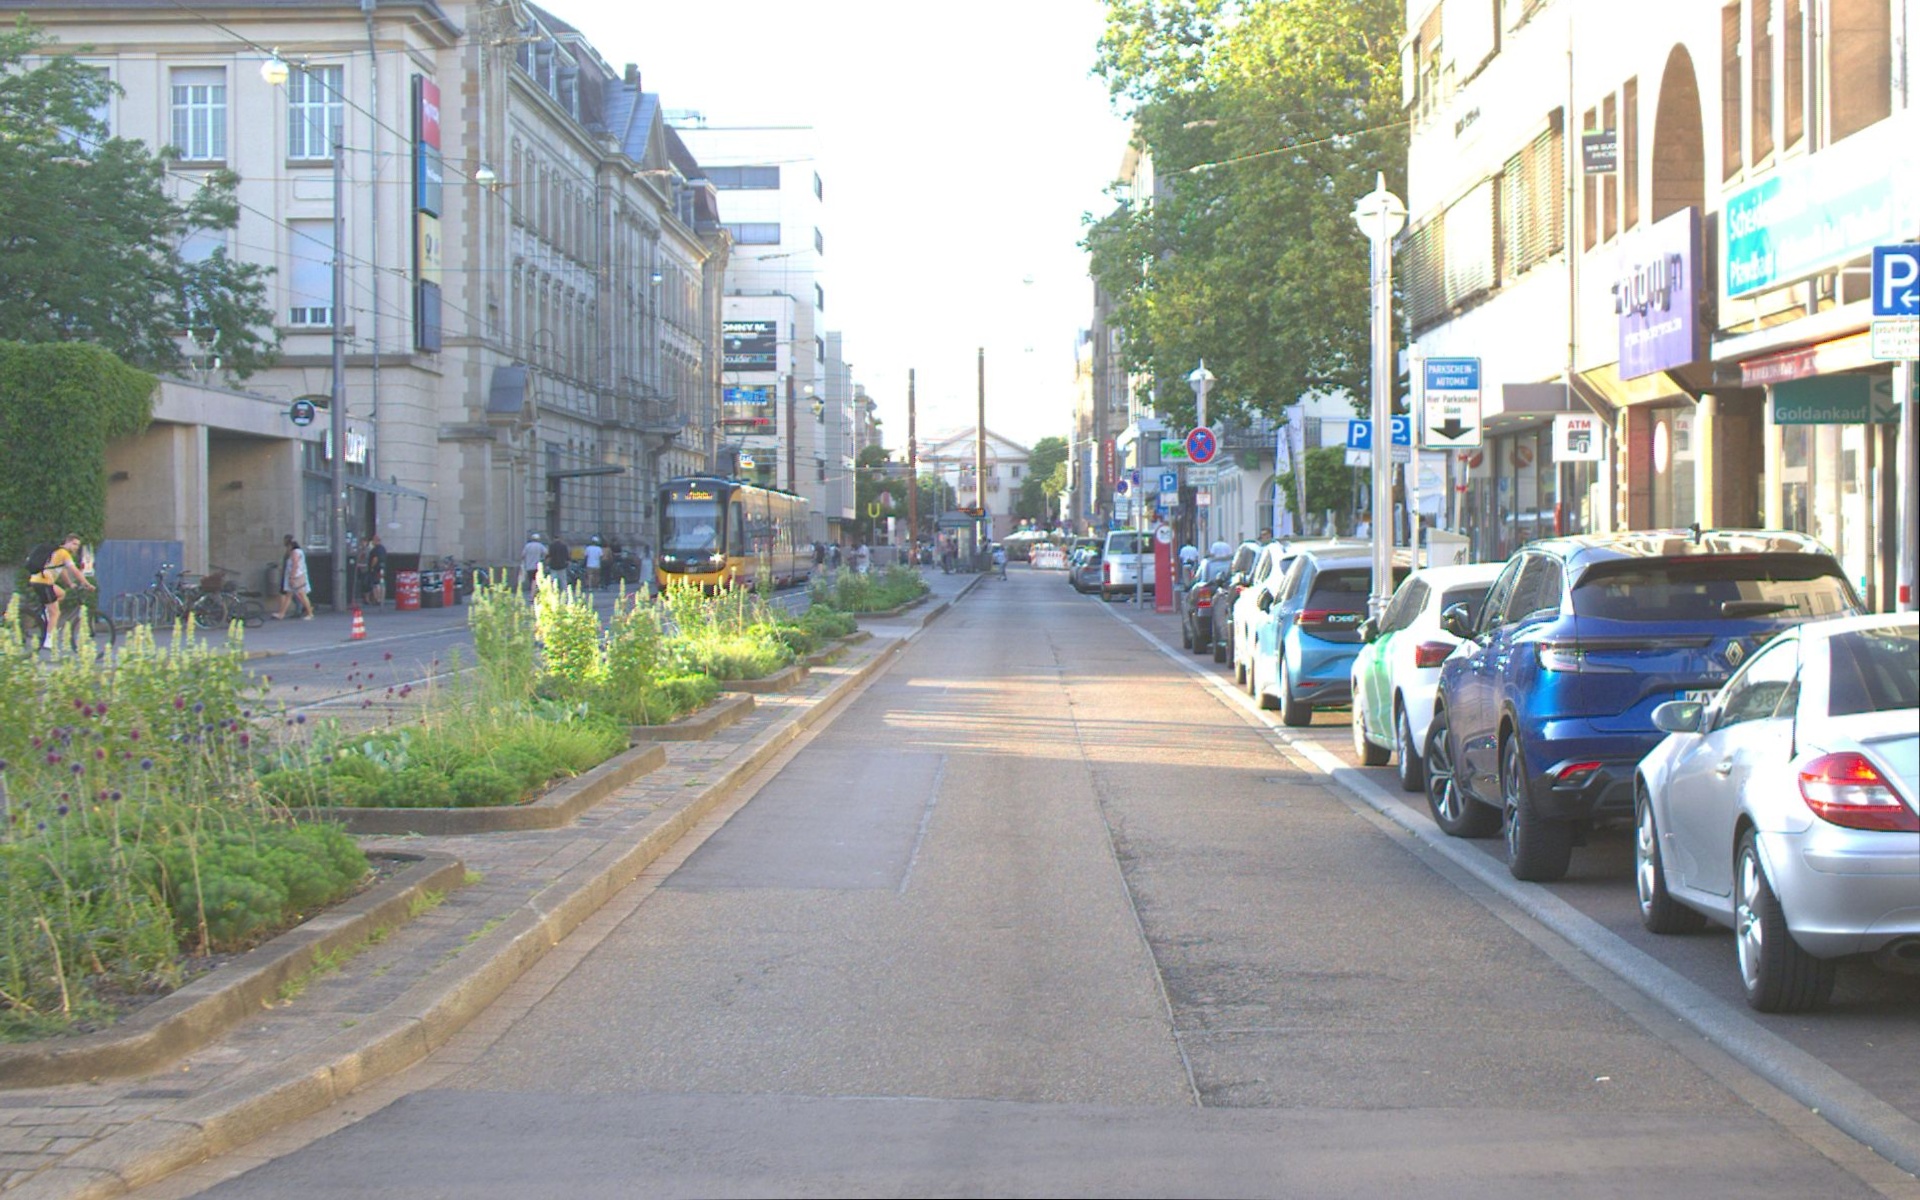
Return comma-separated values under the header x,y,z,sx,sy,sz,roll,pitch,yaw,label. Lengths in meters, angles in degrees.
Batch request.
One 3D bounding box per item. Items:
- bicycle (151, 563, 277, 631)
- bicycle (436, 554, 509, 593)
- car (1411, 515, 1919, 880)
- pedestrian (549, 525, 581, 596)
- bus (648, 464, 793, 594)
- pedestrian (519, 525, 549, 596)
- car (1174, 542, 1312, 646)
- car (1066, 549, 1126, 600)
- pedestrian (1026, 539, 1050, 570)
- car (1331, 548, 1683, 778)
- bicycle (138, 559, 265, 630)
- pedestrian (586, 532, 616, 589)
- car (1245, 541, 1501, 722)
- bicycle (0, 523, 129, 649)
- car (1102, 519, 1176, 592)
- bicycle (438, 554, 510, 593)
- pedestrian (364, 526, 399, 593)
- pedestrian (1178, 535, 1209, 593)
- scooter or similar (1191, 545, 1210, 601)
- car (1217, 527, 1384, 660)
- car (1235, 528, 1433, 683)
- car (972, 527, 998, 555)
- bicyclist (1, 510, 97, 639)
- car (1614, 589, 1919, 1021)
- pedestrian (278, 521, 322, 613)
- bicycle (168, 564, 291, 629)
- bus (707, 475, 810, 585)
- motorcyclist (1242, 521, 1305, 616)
x,y,z,sx,sy,sz,roll,pitch,yaw,label
-14.032,-0.056,64.711,2.241,1.250,0.579,0,-1,1,bicycle
-14.410,-0.790,101.723,2.097,1.144,0.575,0,-1,-3,bicycle
3.404,0.393,17.251,1.765,1.599,4.287,0,1,1,car
-10.377,-1.036,90.222,0.733,1.834,0.714,0,0,2,pedestrian
-7.157,-2.161,105.345,2.822,3.639,17.072,0,1,1,bus
-11.175,-1.045,90.234,0.693,1.841,0.661,0,-1,2,pedestrian
4.147,-0.117,50.987,1.655,1.375,4.341,-4,1,1,car
4.772,-0.904,120.944,1.993,1.755,4.421,0,0,1,car
4.785,-2.784,211.253,1.229,1.922,1.022,-1,1,-14,pedestrian
3.665,0.409,23.693,1.730,1.430,4.152,0,0,0,car
-13.938,-0.095,63.181,2.197,1.296,0.579,0,-1,1,bicycle
-10.924,-1.208,104.566,0.814,1.701,0.761,0,-1,2,pedestrian
3.727,0.231,31.756,1.809,1.546,4.836,0,1,0,car
-12.778,-0.206,47.859,2.361,1.734,0.603,-1,1,-42,bicycle
4.983,-1.232,96.125,1.915,1.975,4.421,0,1,1,car
-14.462,-0.783,102.391,2.077,1.144,0.575,0,-1,-3,bicycle
-14.380,-1.012,85.401,0.714,1.640,0.660,1,1,-20,pedestrian
7.055,-1.088,104.015,0.786,1.745,0.895,0,-1,-6,pedestrian
5.294,-0.600,75.607,0.315,1.217,1.271,0,1,8,scooter or similar
4.358,-0.129,44.560,1.775,1.533,4.578,0,2,1,car
4.012,0.017,37.497,1.816,1.580,4.723,0,1,2,car
1.715,-4.104,238.480,1.761,1.821,3.570,0,-1,1,car
-12.689,-0.359,47.895,0.929,1.770,0.970,-1,1,-42,bicyclist
3.459,0.613,12.398,1.674,1.278,4.063,0,0,4,car
-14.020,-0.694,73.050,0.724,1.928,0.792,0,-1,5,pedestrian
-14.097,-0.071,66.378,2.241,1.227,0.585,0,0,1,bicycle
-6.849,-2.428,118.022,2.822,3.612,8.289,0,1,1,bus
6.068,-0.602,66.525,1.003,1.807,0.958,-1,-1,19,motorcyclist
